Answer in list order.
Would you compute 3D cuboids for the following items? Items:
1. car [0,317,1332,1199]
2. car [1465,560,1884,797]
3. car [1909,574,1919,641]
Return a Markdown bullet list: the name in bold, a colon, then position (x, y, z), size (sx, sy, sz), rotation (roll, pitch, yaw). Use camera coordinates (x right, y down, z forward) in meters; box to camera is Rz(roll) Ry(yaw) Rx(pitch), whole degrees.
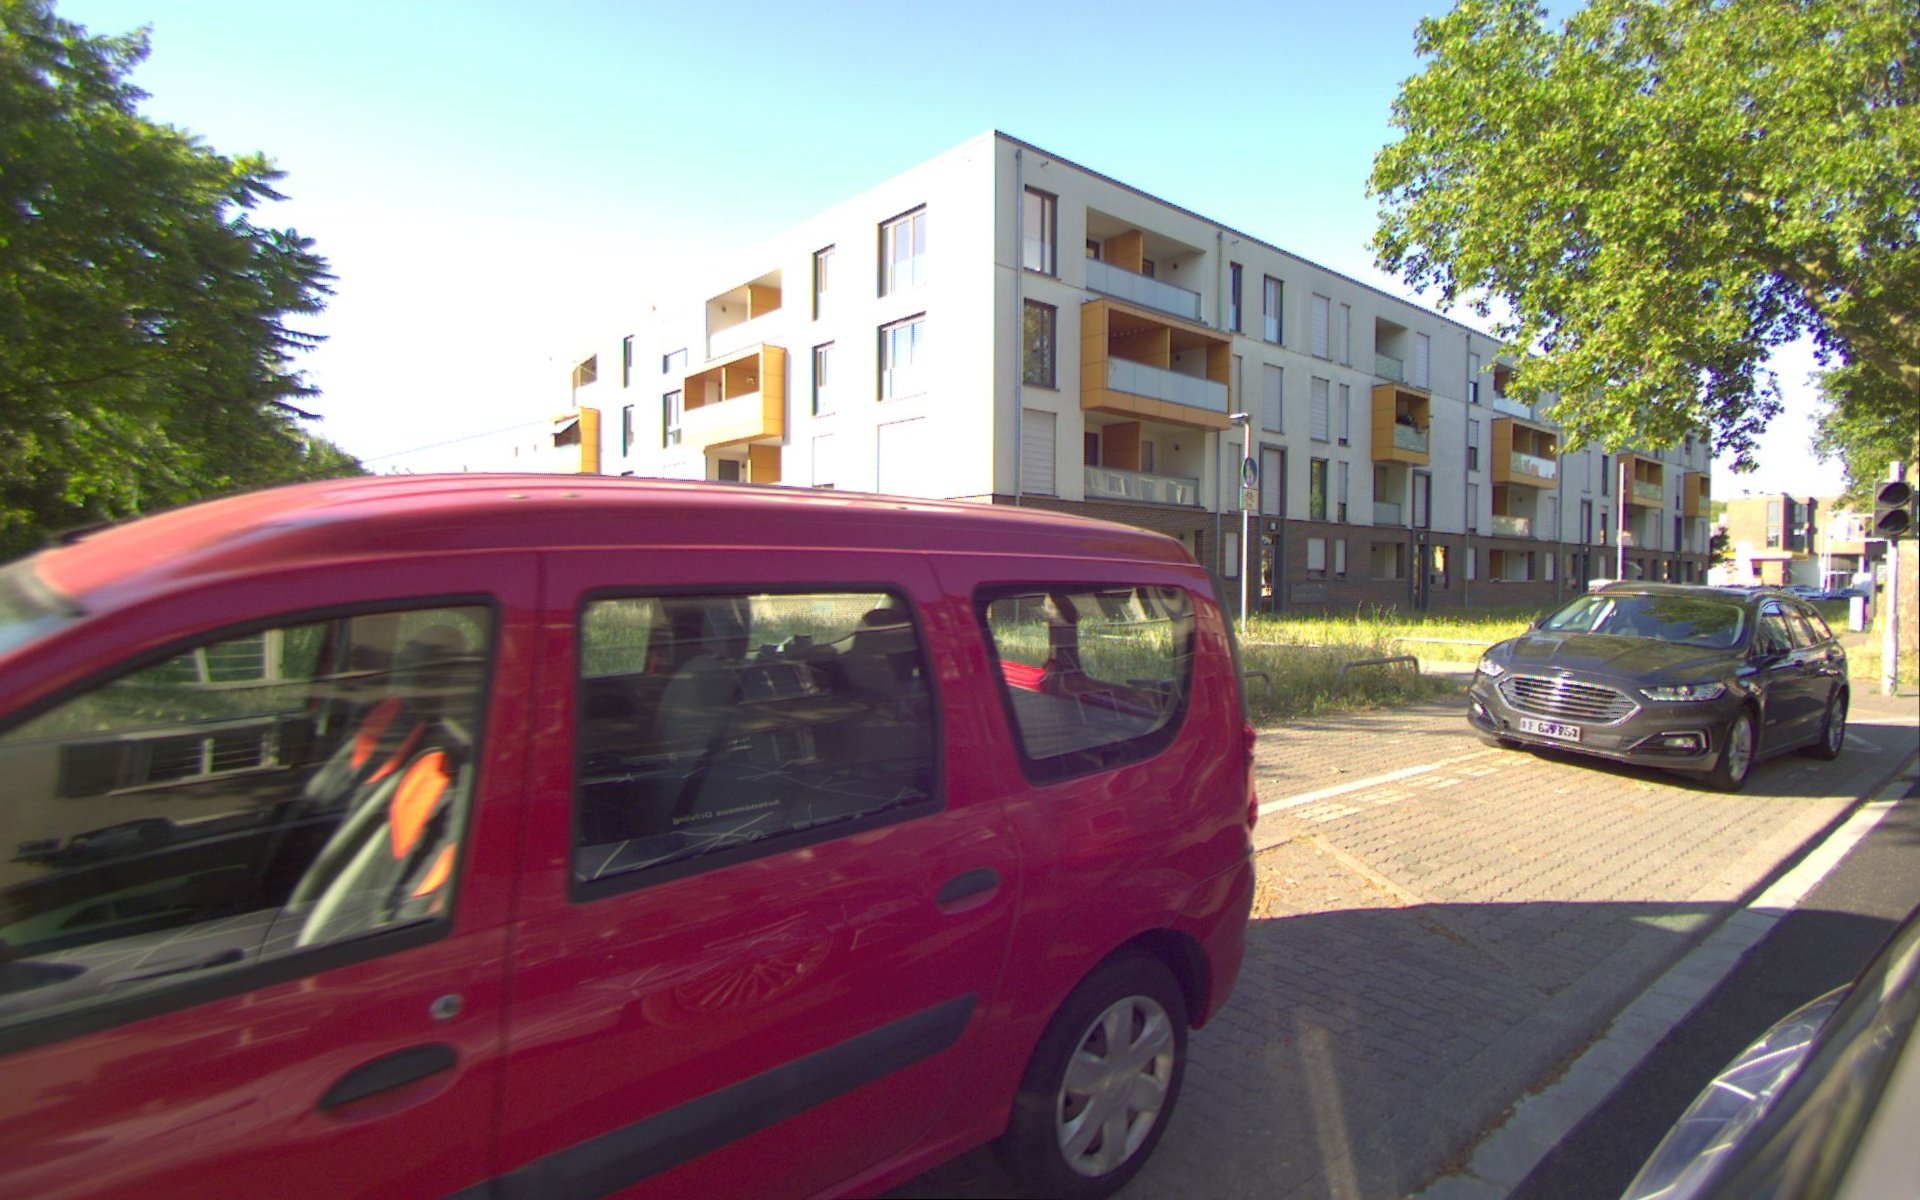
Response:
- **car**: position (-1.130, 0.526, 2.023), size (4.260, 1.710, 1.601), rotation (-1, 2, -40)
- **car**: position (6.349, 0.471, 8.774), size (4.612, 1.499, 1.705), rotation (-1, 4, -39)
- **car**: position (25.691, 0.203, 25.690), size (4.015, 1.632, 1.869), rotation (-1, 3, -41)
